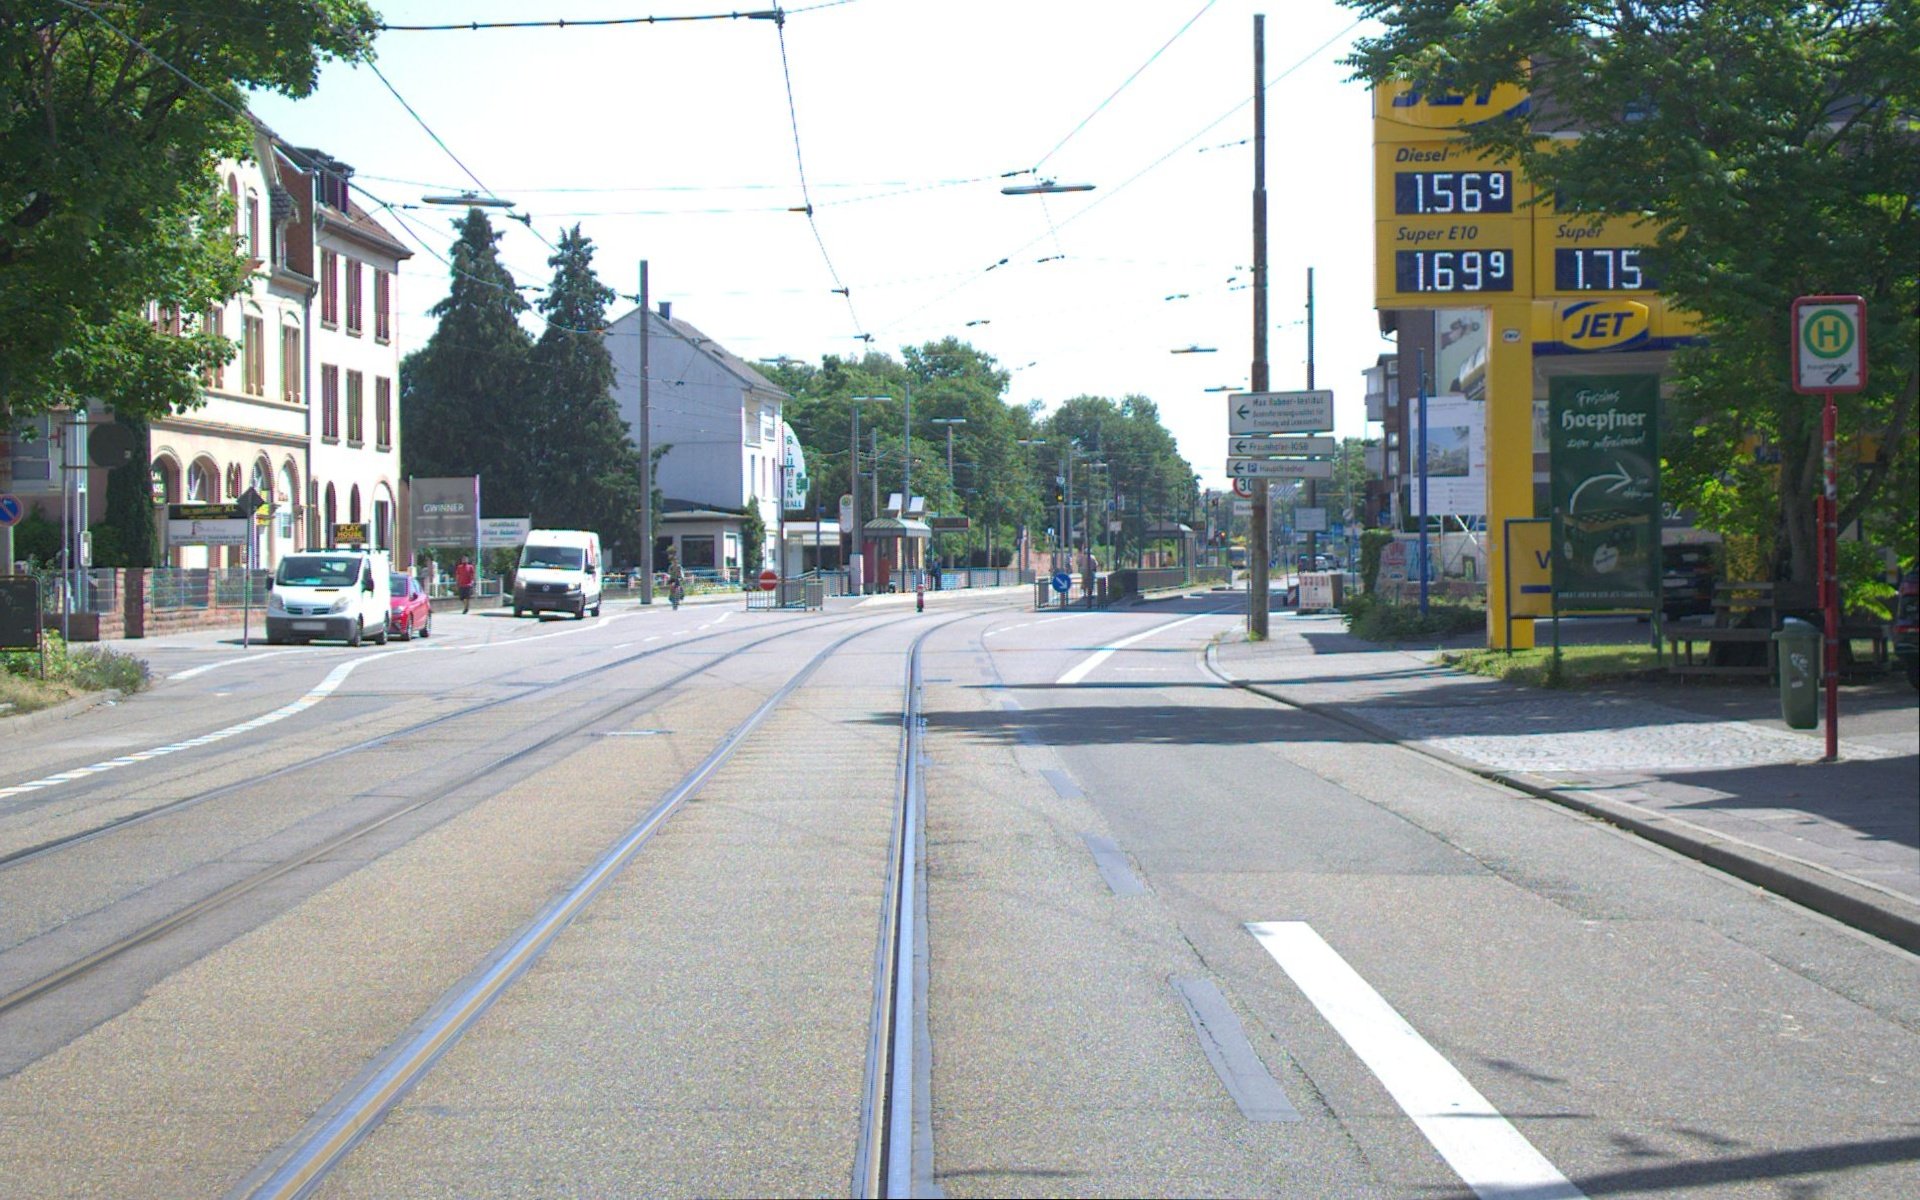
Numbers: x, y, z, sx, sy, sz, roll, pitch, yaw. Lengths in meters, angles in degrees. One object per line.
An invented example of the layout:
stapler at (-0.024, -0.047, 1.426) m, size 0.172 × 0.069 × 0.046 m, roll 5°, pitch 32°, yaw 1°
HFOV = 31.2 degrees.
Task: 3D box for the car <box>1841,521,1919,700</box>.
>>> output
car at (10.526, 0.046, 32.876) m, size 2.019 × 1.635 × 4.648 m, roll -1°, pitch 1°, yaw 44°

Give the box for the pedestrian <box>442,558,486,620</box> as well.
pedestrian at (-14.522, -0.319, 100.664) m, size 0.942 × 1.809 × 1.129 m, roll 0°, pitch 1°, yaw 10°

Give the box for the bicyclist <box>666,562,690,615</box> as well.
bicyclist at (-9.208, -0.371, 112.248) m, size 0.716 × 1.718 × 0.988 m, roll -1°, pitch 0°, yaw -3°

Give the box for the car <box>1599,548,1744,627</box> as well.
car at (13.554, -0.260, 65.351) m, size 1.758 × 1.450 × 4.404 m, roll 0°, pitch 1°, yaw 25°

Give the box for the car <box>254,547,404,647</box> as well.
car at (-13.042, -0.075, 71.310) m, size 2.084 × 2.007 × 4.908 m, roll 0°, pitch 0°, yaw 2°

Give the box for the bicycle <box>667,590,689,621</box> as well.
bicycle at (-9.211, 0.168, 112.229) m, size 0.608 × 0.980 × 2.164 m, roll -1°, pitch 0°, yaw -2°

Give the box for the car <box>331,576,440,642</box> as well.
car at (-12.948, 0.182, 77.664) m, size 1.720 × 1.401 × 4.001 m, roll 0°, pitch 1°, yaw 1°

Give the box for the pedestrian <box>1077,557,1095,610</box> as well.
pedestrian at (4.258, -0.558, 115.960) m, size 0.556 × 1.754 × 0.793 m, roll -1°, pitch 1°, yaw 1°

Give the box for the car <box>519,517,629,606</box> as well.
car at (-11.330, -1.155, 101.292) m, size 2.329 × 2.527 × 6.506 m, roll -1°, pitch 1°, yaw 1°

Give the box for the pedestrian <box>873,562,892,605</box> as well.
pedestrian at (-3.034, -0.646, 134.426) m, size 0.705 × 1.684 × 0.416 m, roll -1°, pitch 0°, yaw 0°

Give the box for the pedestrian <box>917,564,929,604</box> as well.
pedestrian at (-1.581, -0.677, 145.378) m, size 0.415 × 1.684 × 0.708 m, roll -1°, pitch 0°, yaw -6°
